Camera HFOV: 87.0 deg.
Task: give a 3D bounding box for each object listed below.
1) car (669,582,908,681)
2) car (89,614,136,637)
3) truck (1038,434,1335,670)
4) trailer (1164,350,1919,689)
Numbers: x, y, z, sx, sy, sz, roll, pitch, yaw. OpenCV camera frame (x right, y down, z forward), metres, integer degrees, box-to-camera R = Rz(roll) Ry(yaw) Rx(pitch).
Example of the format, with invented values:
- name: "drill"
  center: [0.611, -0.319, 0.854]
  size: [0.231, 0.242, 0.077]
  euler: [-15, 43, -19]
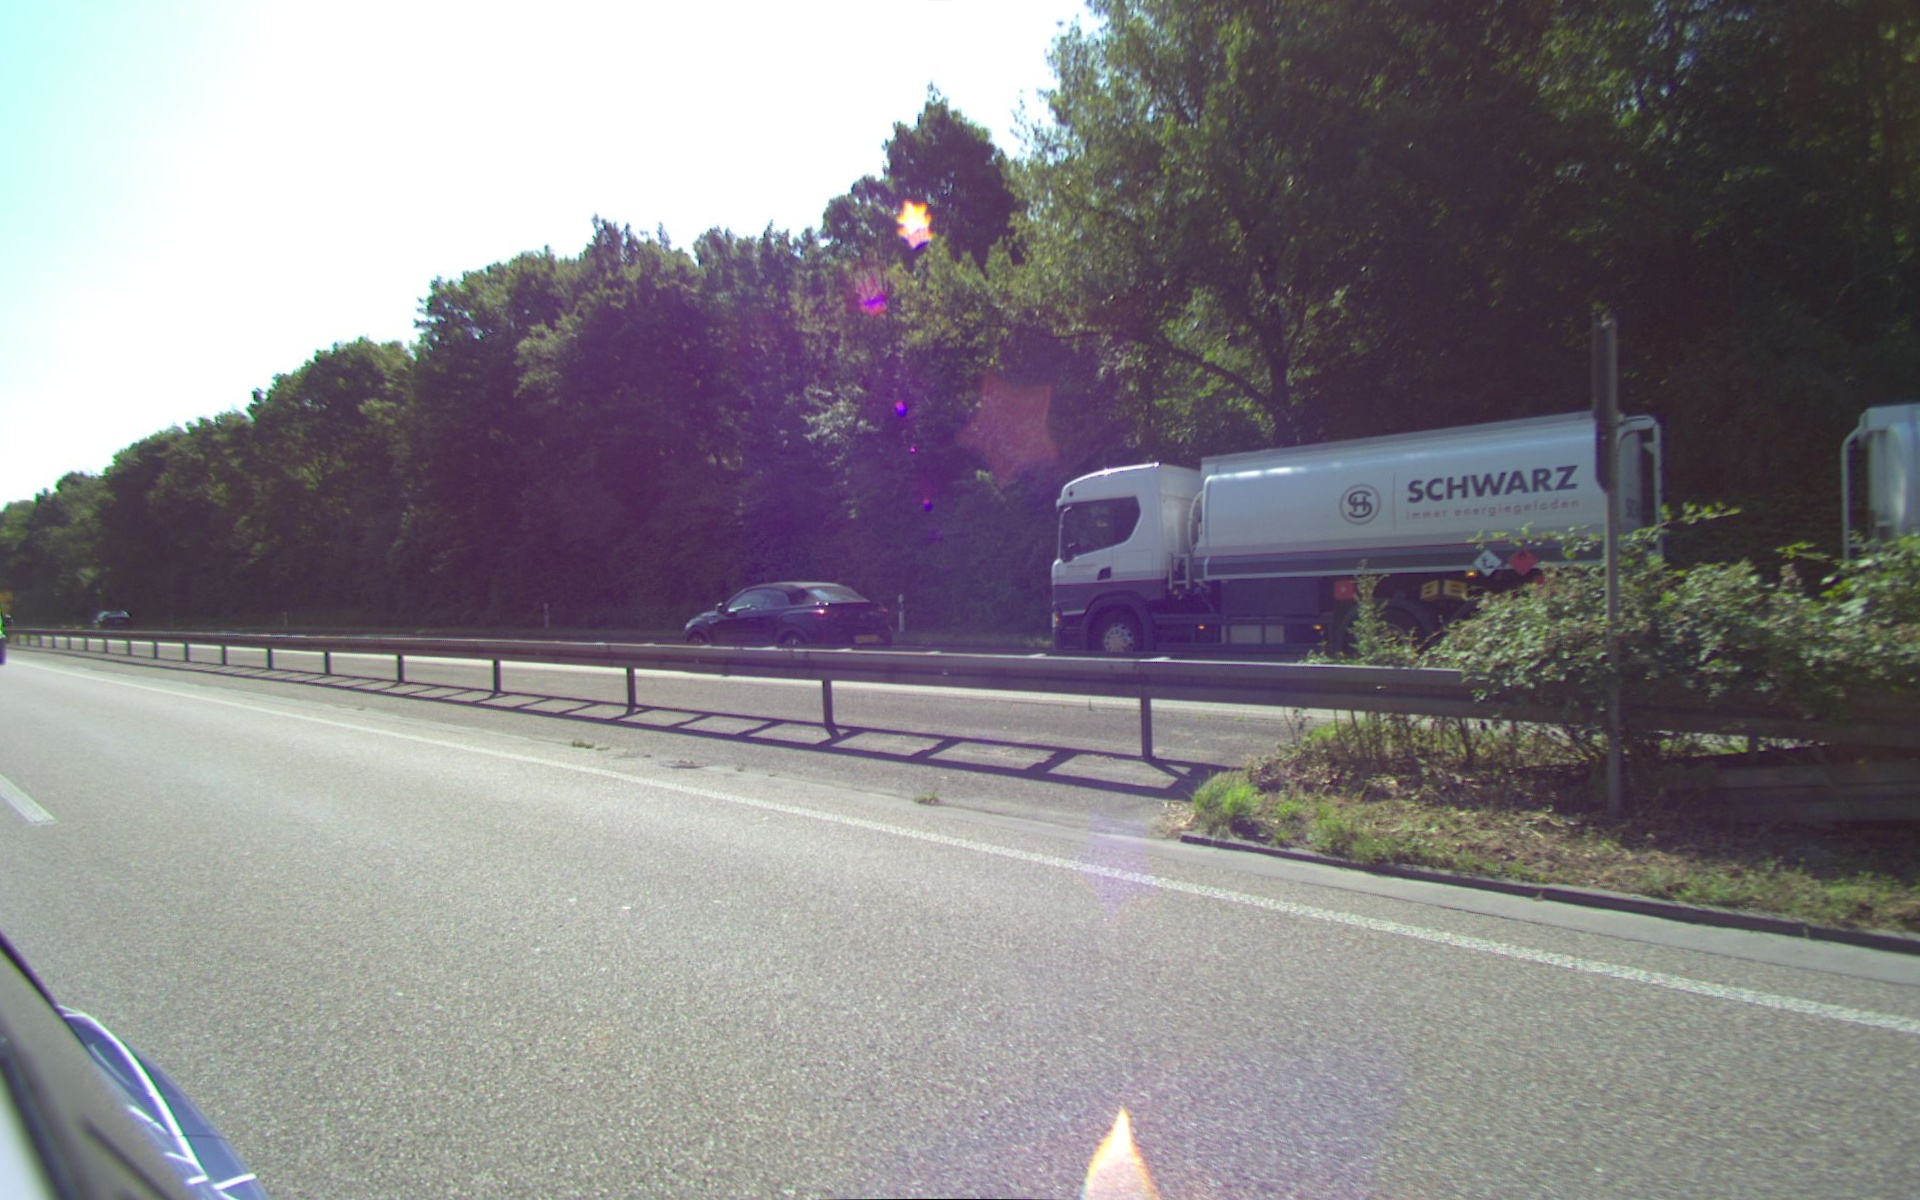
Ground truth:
- name: "car"
  center: [-3.008, 0.491, 17.272]
  size: [4.242, 1.491, 1.705]
  euler: [-1, 0, 41]
- name: "car"
  center: [-61.500, 1.848, 73.452]
  size: [4.547, 1.521, 1.824]
  euler: [-1, 0, 40]
- name: "truck"
  center: [3.596, -0.654, 16.339]
  size: [3.998, 3.283, 2.400]
  euler: [-1, 0, 41]
- name: "trailer"
  center: [9.286, -0.773, 11.311]
  size: [14.425, 3.260, 2.467]
  euler: [-1, 0, 41]
